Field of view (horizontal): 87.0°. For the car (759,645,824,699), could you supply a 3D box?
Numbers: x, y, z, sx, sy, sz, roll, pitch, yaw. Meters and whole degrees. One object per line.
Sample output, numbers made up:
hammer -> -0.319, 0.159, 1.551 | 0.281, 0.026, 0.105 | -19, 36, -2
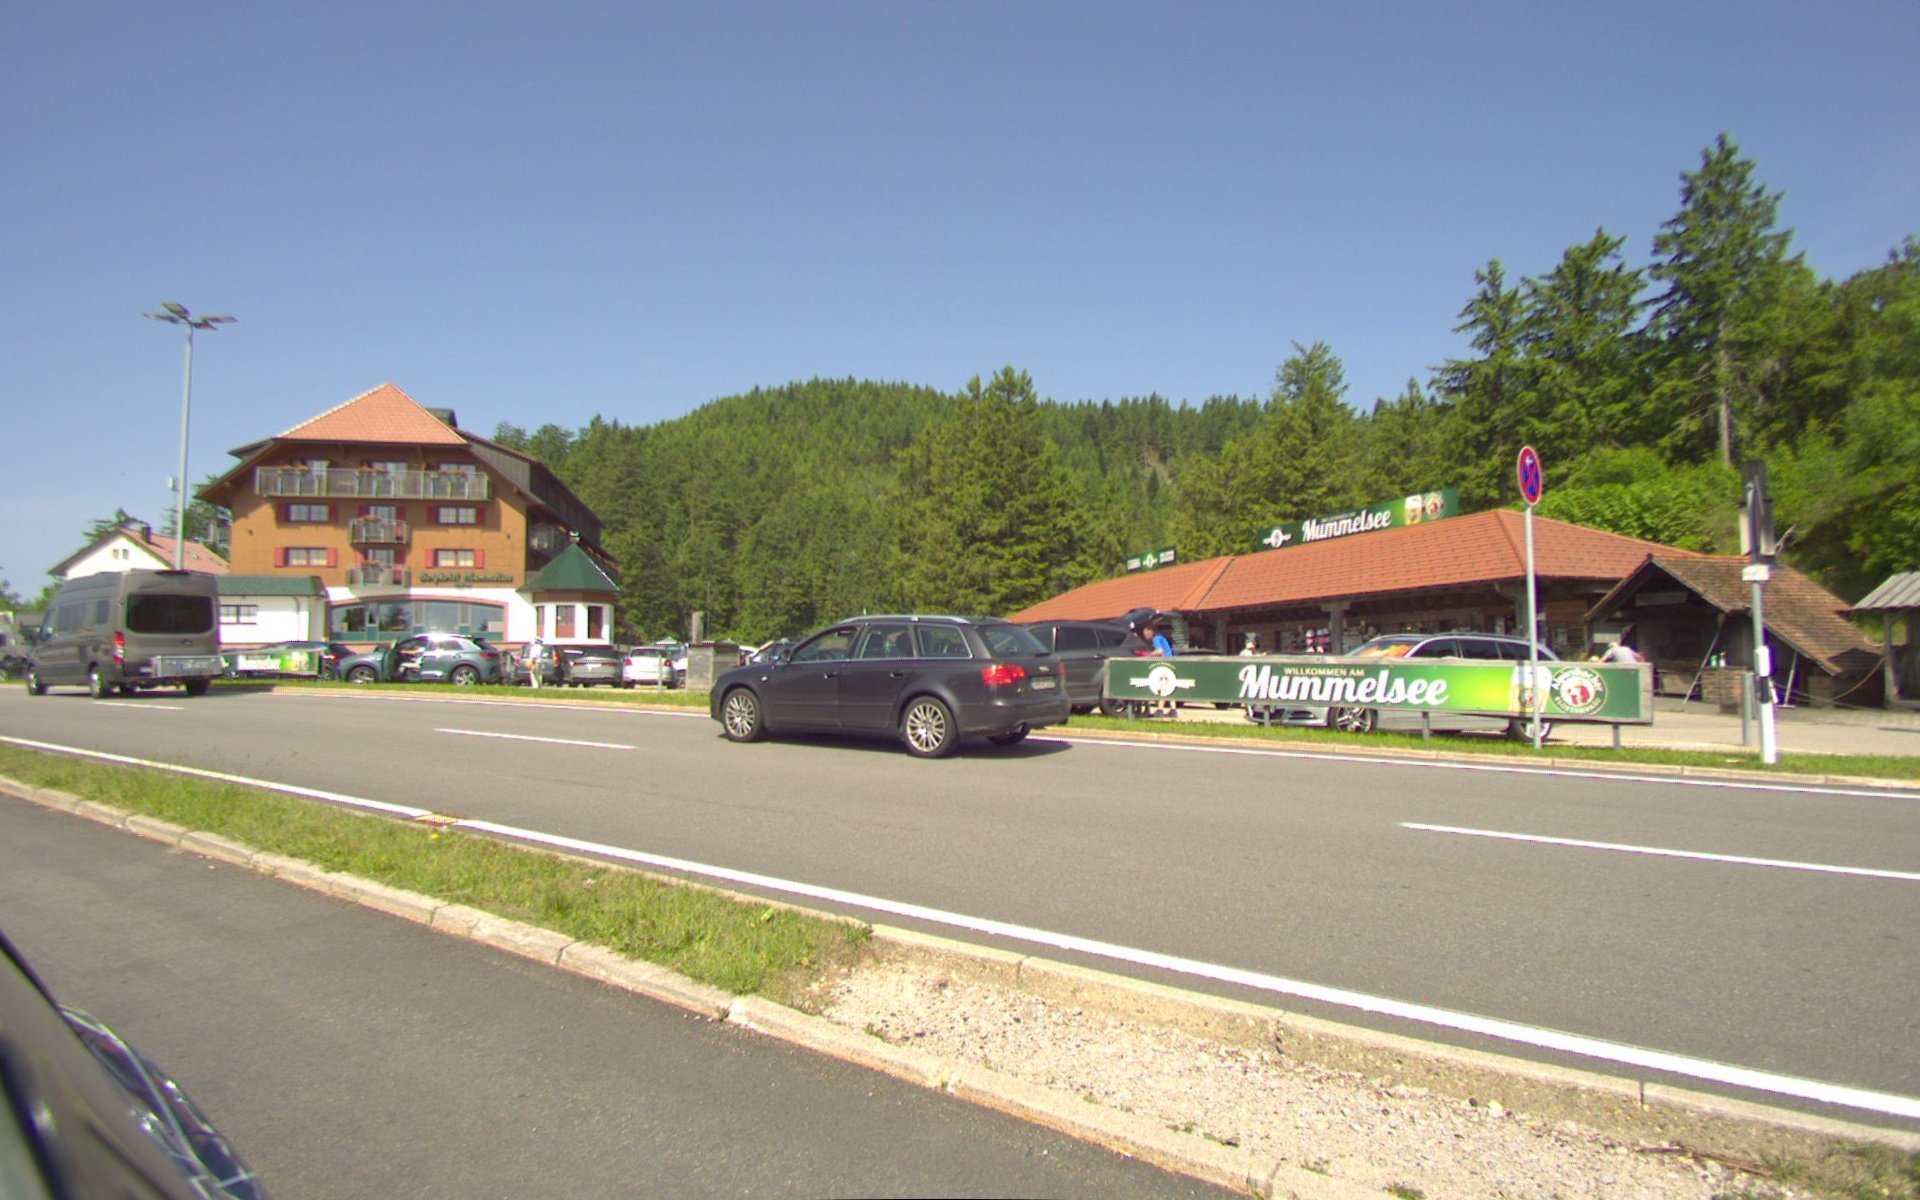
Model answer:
car -> -5.540, 2.300, 32.884 | 1.794, 1.641, 4.105 | 1, -3, -13

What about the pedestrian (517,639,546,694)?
pedestrian -> -13.031, 2.014, 30.778 | 0.733, 1.637, 0.685 | 2, -3, -29

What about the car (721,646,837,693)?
car -> -6.719, 2.569, 37.468 | 4.025, 1.641, 1.829 | 1, -3, -15

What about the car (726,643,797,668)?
car -> -14.157, 3.978, 72.101 | 4.764, 1.729, 1.925 | 1, -3, -14

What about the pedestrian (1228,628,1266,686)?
pedestrian -> 10.219, 2.023, 36.106 | 0.948, 2.029, 0.859 | 1, -3, -21

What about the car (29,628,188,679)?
car -> -49.407, 3.112, 58.946 | 6.855, 2.812, 2.671 | 3, -4, -40

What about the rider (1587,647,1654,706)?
rider -> 14.761, 1.699, 22.630 | 0.826, 1.284, 0.910 | 0, -3, -5

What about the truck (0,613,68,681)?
truck -> -57.138, 2.874, 60.430 | 2.834, 3.850, 9.045 | -1, -2, -21

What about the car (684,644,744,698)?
car -> -8.140, 2.322, 33.573 | 1.794, 1.641, 4.105 | 1, -3, -13

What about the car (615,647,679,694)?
car -> -10.724, 2.412, 34.911 | 1.794, 1.524, 4.105 | 1, -3, -13

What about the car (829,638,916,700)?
car -> -2.703, 2.054, 30.417 | 1.888, 1.729, 4.106 | 1, -3, -15

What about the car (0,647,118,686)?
car -> -37.776, 2.738, 41.901 | 4.024, 1.539, 1.830 | 2, -3, -19

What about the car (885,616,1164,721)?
car -> 1.093, 1.178, 17.510 | 4.474, 1.669, 1.727 | 1, -3, -17

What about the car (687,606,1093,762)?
car -> -0.880, 0.871, 11.351 | 4.436, 1.449, 1.692 | -2, -3, 33

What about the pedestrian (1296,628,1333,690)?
pedestrian -> 11.786, 1.945, 33.652 | 0.711, 2.029, 0.930 | 1, -3, -21

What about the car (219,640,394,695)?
car -> -20.257, 2.094, 31.569 | 4.199, 1.641, 1.829 | 1, -3, -15

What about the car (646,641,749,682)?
car -> -10.892, 2.567, 42.013 | 4.025, 1.641, 1.829 | 1, -3, -15

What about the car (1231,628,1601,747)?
car -> 6.117, 1.151, 13.708 | 4.426, 1.441, 1.727 | 1, -3, -14

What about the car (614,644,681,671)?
car -> -20.153, 3.713, 65.420 | 4.026, 1.729, 1.925 | 1, -3, -14

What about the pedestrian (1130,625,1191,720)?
pedestrian -> 3.560, 1.281, 18.026 | 0.733, 1.648, 0.849 | 1, -3, -18

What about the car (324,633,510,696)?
car -> -14.908, 1.789, 28.047 | 4.199, 1.641, 1.829 | 1, -3, -15

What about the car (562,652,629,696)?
car -> -13.311, 2.670, 37.173 | 1.794, 1.524, 4.105 | 1, -3, -13

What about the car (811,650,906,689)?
car -> -4.708, 3.218, 46.822 | 4.024, 1.729, 1.926 | 1, -3, -17

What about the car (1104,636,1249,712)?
car -> 5.281, 1.811, 25.310 | 1.888, 1.729, 4.106 | 1, -3, -15

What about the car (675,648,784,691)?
car -> -9.023, 2.709, 39.584 | 4.025, 1.641, 1.829 | 1, -3, -15

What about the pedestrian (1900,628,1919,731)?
pedestrian -> 16.451, 1.312, 16.555 | 0.963, 1.711, 1.164 | 1, -3, -8

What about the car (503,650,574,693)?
car -> -15.868, 2.660, 38.303 | 1.794, 1.524, 4.105 | 1, -3, -13

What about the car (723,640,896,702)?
car -> -3.735, 1.737, 25.167 | 3.974, 1.441, 1.708 | -1, -3, 23

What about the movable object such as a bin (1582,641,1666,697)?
movable object such as a bin -> 14.792, 1.523, 22.577 | 0.969, 1.198, 1.218 | 0, -3, -5

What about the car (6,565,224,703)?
car -> -19.148, 0.793, 22.856 | 5.897, 2.772, 1.996 | -2, -3, 32

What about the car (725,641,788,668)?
car -> -13.708, 3.666, 68.011 | 4.026, 1.729, 1.925 | 1, -3, -14
